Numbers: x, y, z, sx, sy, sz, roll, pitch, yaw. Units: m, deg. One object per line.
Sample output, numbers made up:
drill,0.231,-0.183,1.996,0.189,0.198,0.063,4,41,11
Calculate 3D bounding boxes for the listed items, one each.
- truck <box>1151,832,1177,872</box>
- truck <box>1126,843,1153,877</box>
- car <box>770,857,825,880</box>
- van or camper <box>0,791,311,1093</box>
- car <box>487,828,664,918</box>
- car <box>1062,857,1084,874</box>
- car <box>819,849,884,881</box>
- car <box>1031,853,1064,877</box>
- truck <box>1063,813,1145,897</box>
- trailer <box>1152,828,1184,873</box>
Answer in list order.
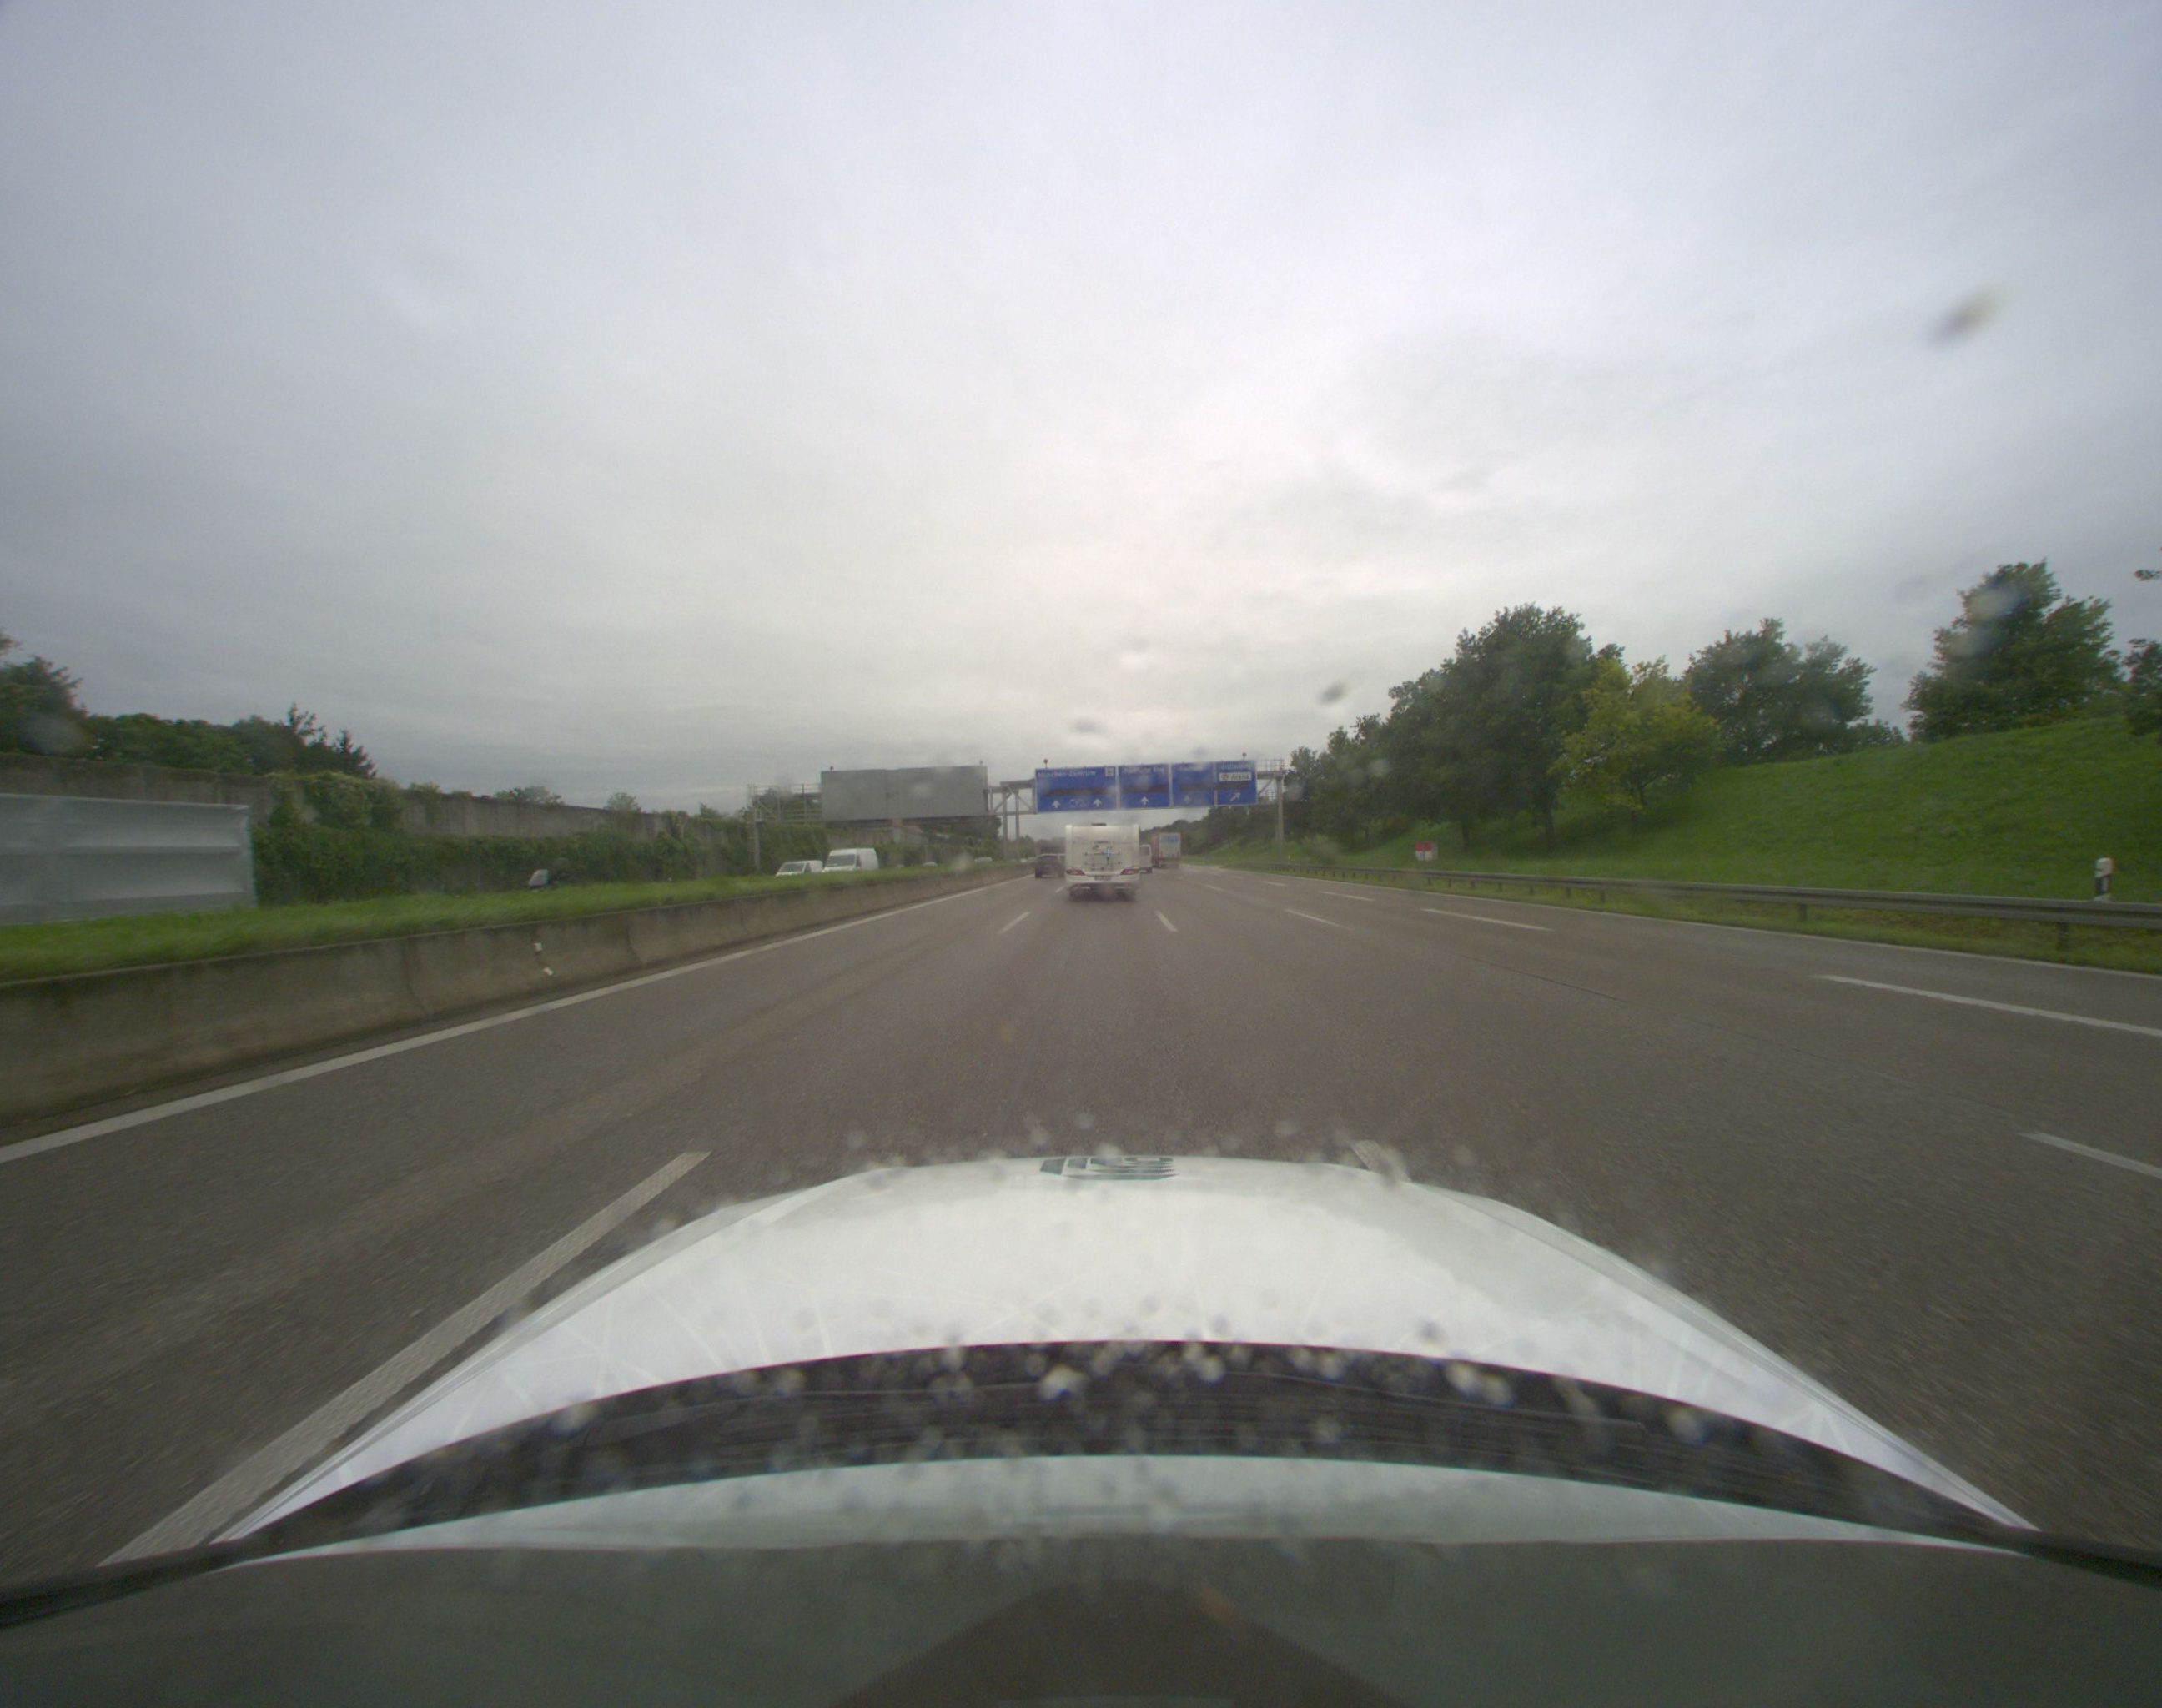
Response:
truck,10.454,-0.242,103.167,3.036,4.839,5.854,0,-1,3
truck,5.017,0.504,70.231,2.046,2.770,5.550,0,-1,1
car,-18.275,0.912,52.691,1.872,1.344,4.528,-1,0,1
van or camper,-15.474,1.157,10.596,2.697,3.948,8.405,0,-1,2
car,-12.325,0.444,20.209,1.761,2.014,4.002,0,-1,2
car,-0.763,1.214,84.351,2.120,1.706,4.113,1,-1,1
car,-14.646,0.699,52.490,2.119,1.912,6.536,0,0,2
car,-2.338,0.772,57.769,1.986,1.600,5.124,0,0,1
truck,0.802,0.062,29.121,2.651,2.742,5.078,0,-1,1
trailer,10.114,-0.308,95.629,3.087,4.922,11.797,0,-1,3
